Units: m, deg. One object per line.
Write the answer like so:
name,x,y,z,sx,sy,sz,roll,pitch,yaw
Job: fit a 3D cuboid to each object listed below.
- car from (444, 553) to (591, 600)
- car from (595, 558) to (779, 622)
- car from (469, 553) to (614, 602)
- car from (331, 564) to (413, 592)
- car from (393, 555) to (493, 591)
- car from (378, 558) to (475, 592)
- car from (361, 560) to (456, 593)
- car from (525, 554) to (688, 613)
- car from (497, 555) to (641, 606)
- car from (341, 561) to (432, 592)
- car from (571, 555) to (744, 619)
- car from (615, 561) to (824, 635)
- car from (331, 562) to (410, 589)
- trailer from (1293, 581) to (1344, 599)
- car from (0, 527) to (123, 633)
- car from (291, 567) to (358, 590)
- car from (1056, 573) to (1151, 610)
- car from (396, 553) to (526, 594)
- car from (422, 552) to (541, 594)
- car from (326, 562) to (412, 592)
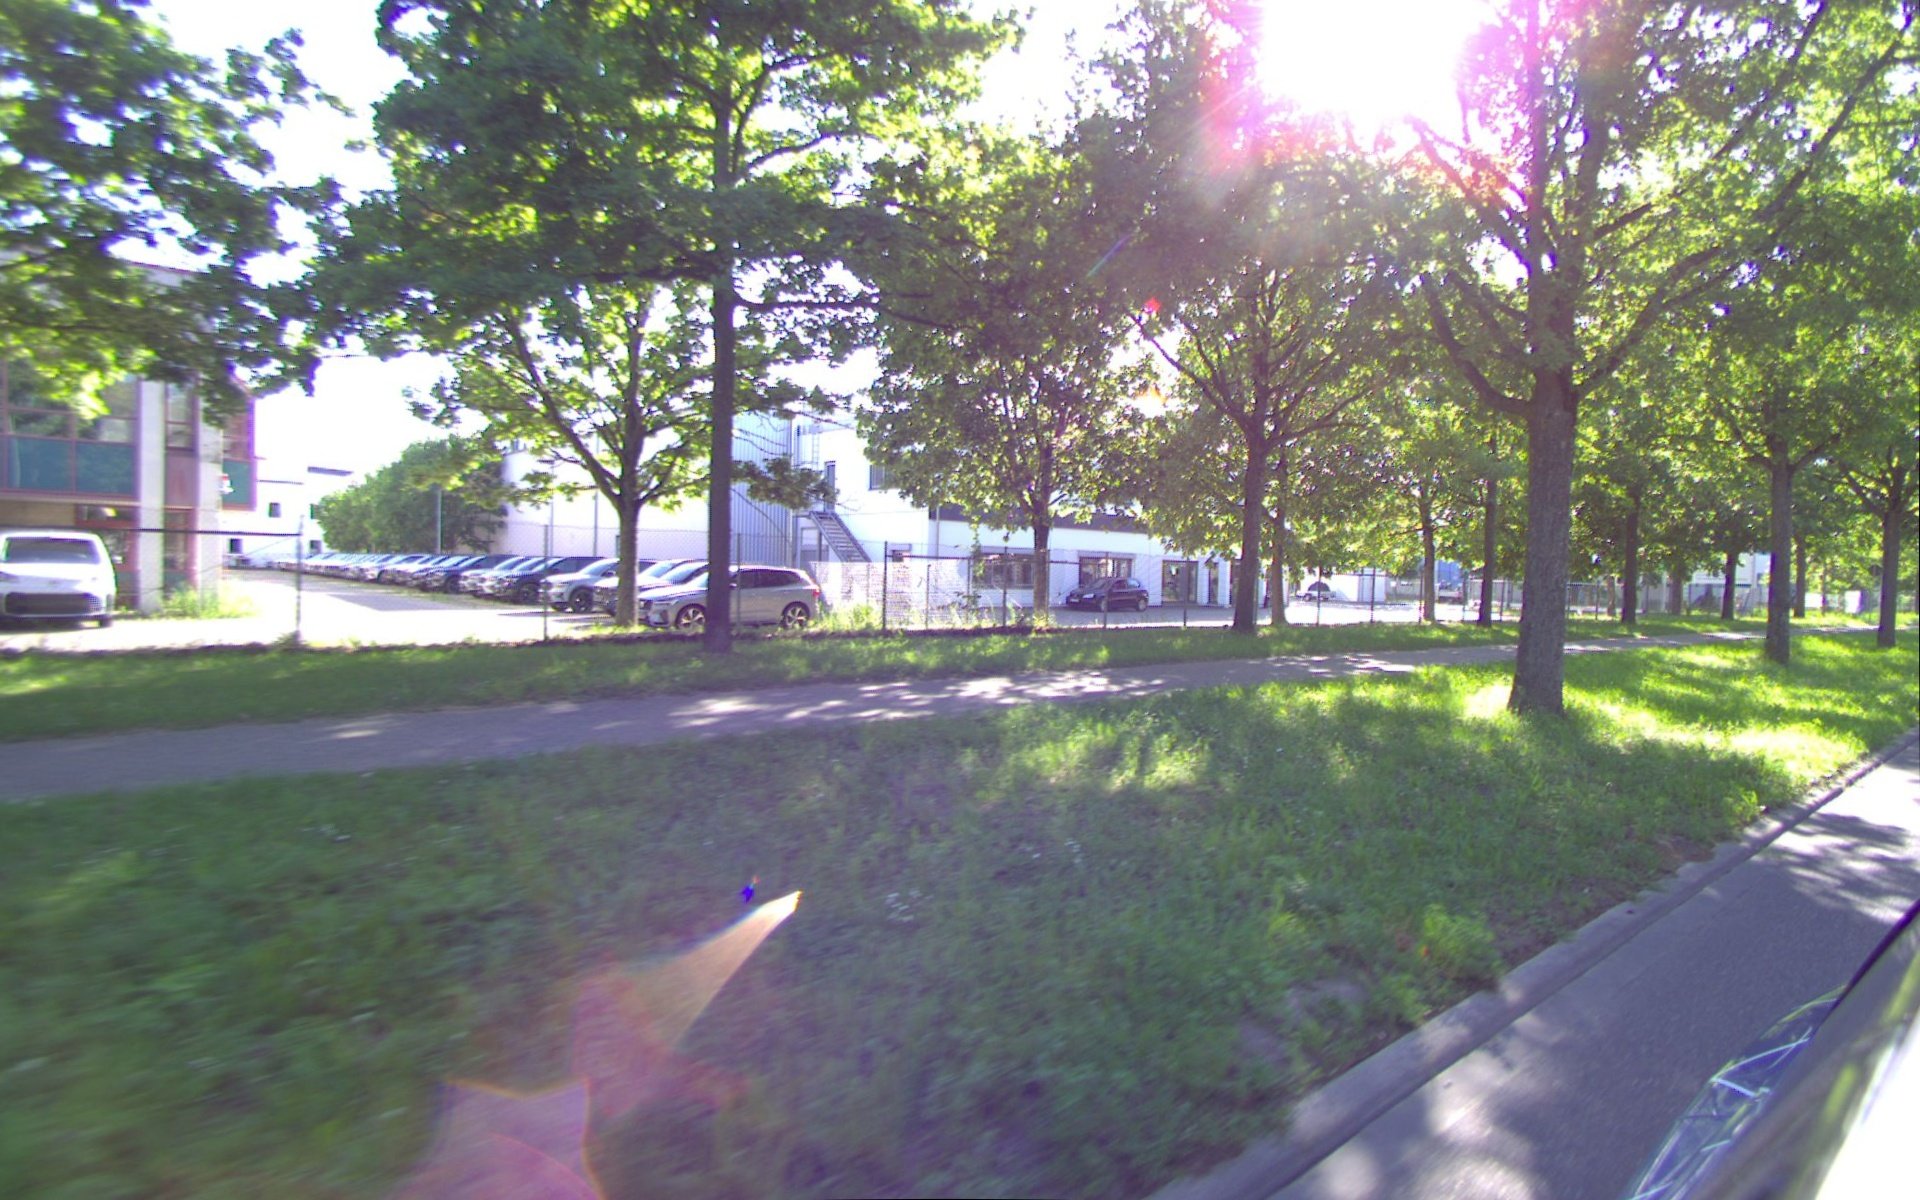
car,-16.868,-0.871,38.715,4.880,1.694,1.741,-1,0,-38
car,-7.293,-0.282,27.302,4.380,1.578,1.996,0,2,-43
car,-15.264,-0.809,37.021,4.630,1.694,1.706,0,0,-36
car,-36.022,-1.336,62.041,4.263,1.694,1.743,0,0,-35
car,-25.702,-1.314,50.356,4.263,1.694,1.743,0,0,-35
car,-27.542,-1.267,52.274,4.263,1.694,1.743,0,0,-35
car,-29.248,-1.207,53.746,4.263,1.694,1.743,0,0,-35
car,-10.891,-0.491,31.390,1.994,1.694,4.385,0,1,44
car,-13.514,-0.657,35.082,4.372,1.677,1.700,0,0,-36
car,-31.822,-1.293,56.227,4.263,1.694,1.743,0,0,-35
car,-8.737,-0.385,29.439,4.380,1.694,1.996,0,2,-43
car,-5.838,-0.094,24.918,4.636,1.626,1.996,-1,3,-43
car,-37.373,-1.530,64.199,4.263,1.694,1.743,0,0,-35
trailer,27.548,-0.780,77.877,1.694,1.282,3.604,1,1,-22
car,-19.146,-0.515,21.335,1.864,1.983,5.067,0,3,-45
car,-48.194,-1.619,76.760,4.263,1.694,1.743,0,0,-35
car,6.195,-0.370,43.521,4.083,1.525,1.720,-1,0,-38
car,-21.707,-1.114,44.120,4.861,1.694,1.743,0,0,-35
car,-19.988,-1.102,42.347,4.263,1.694,1.743,0,0,-35
car,-34.499,-1.313,59.111,4.263,1.694,1.743,0,0,-35
